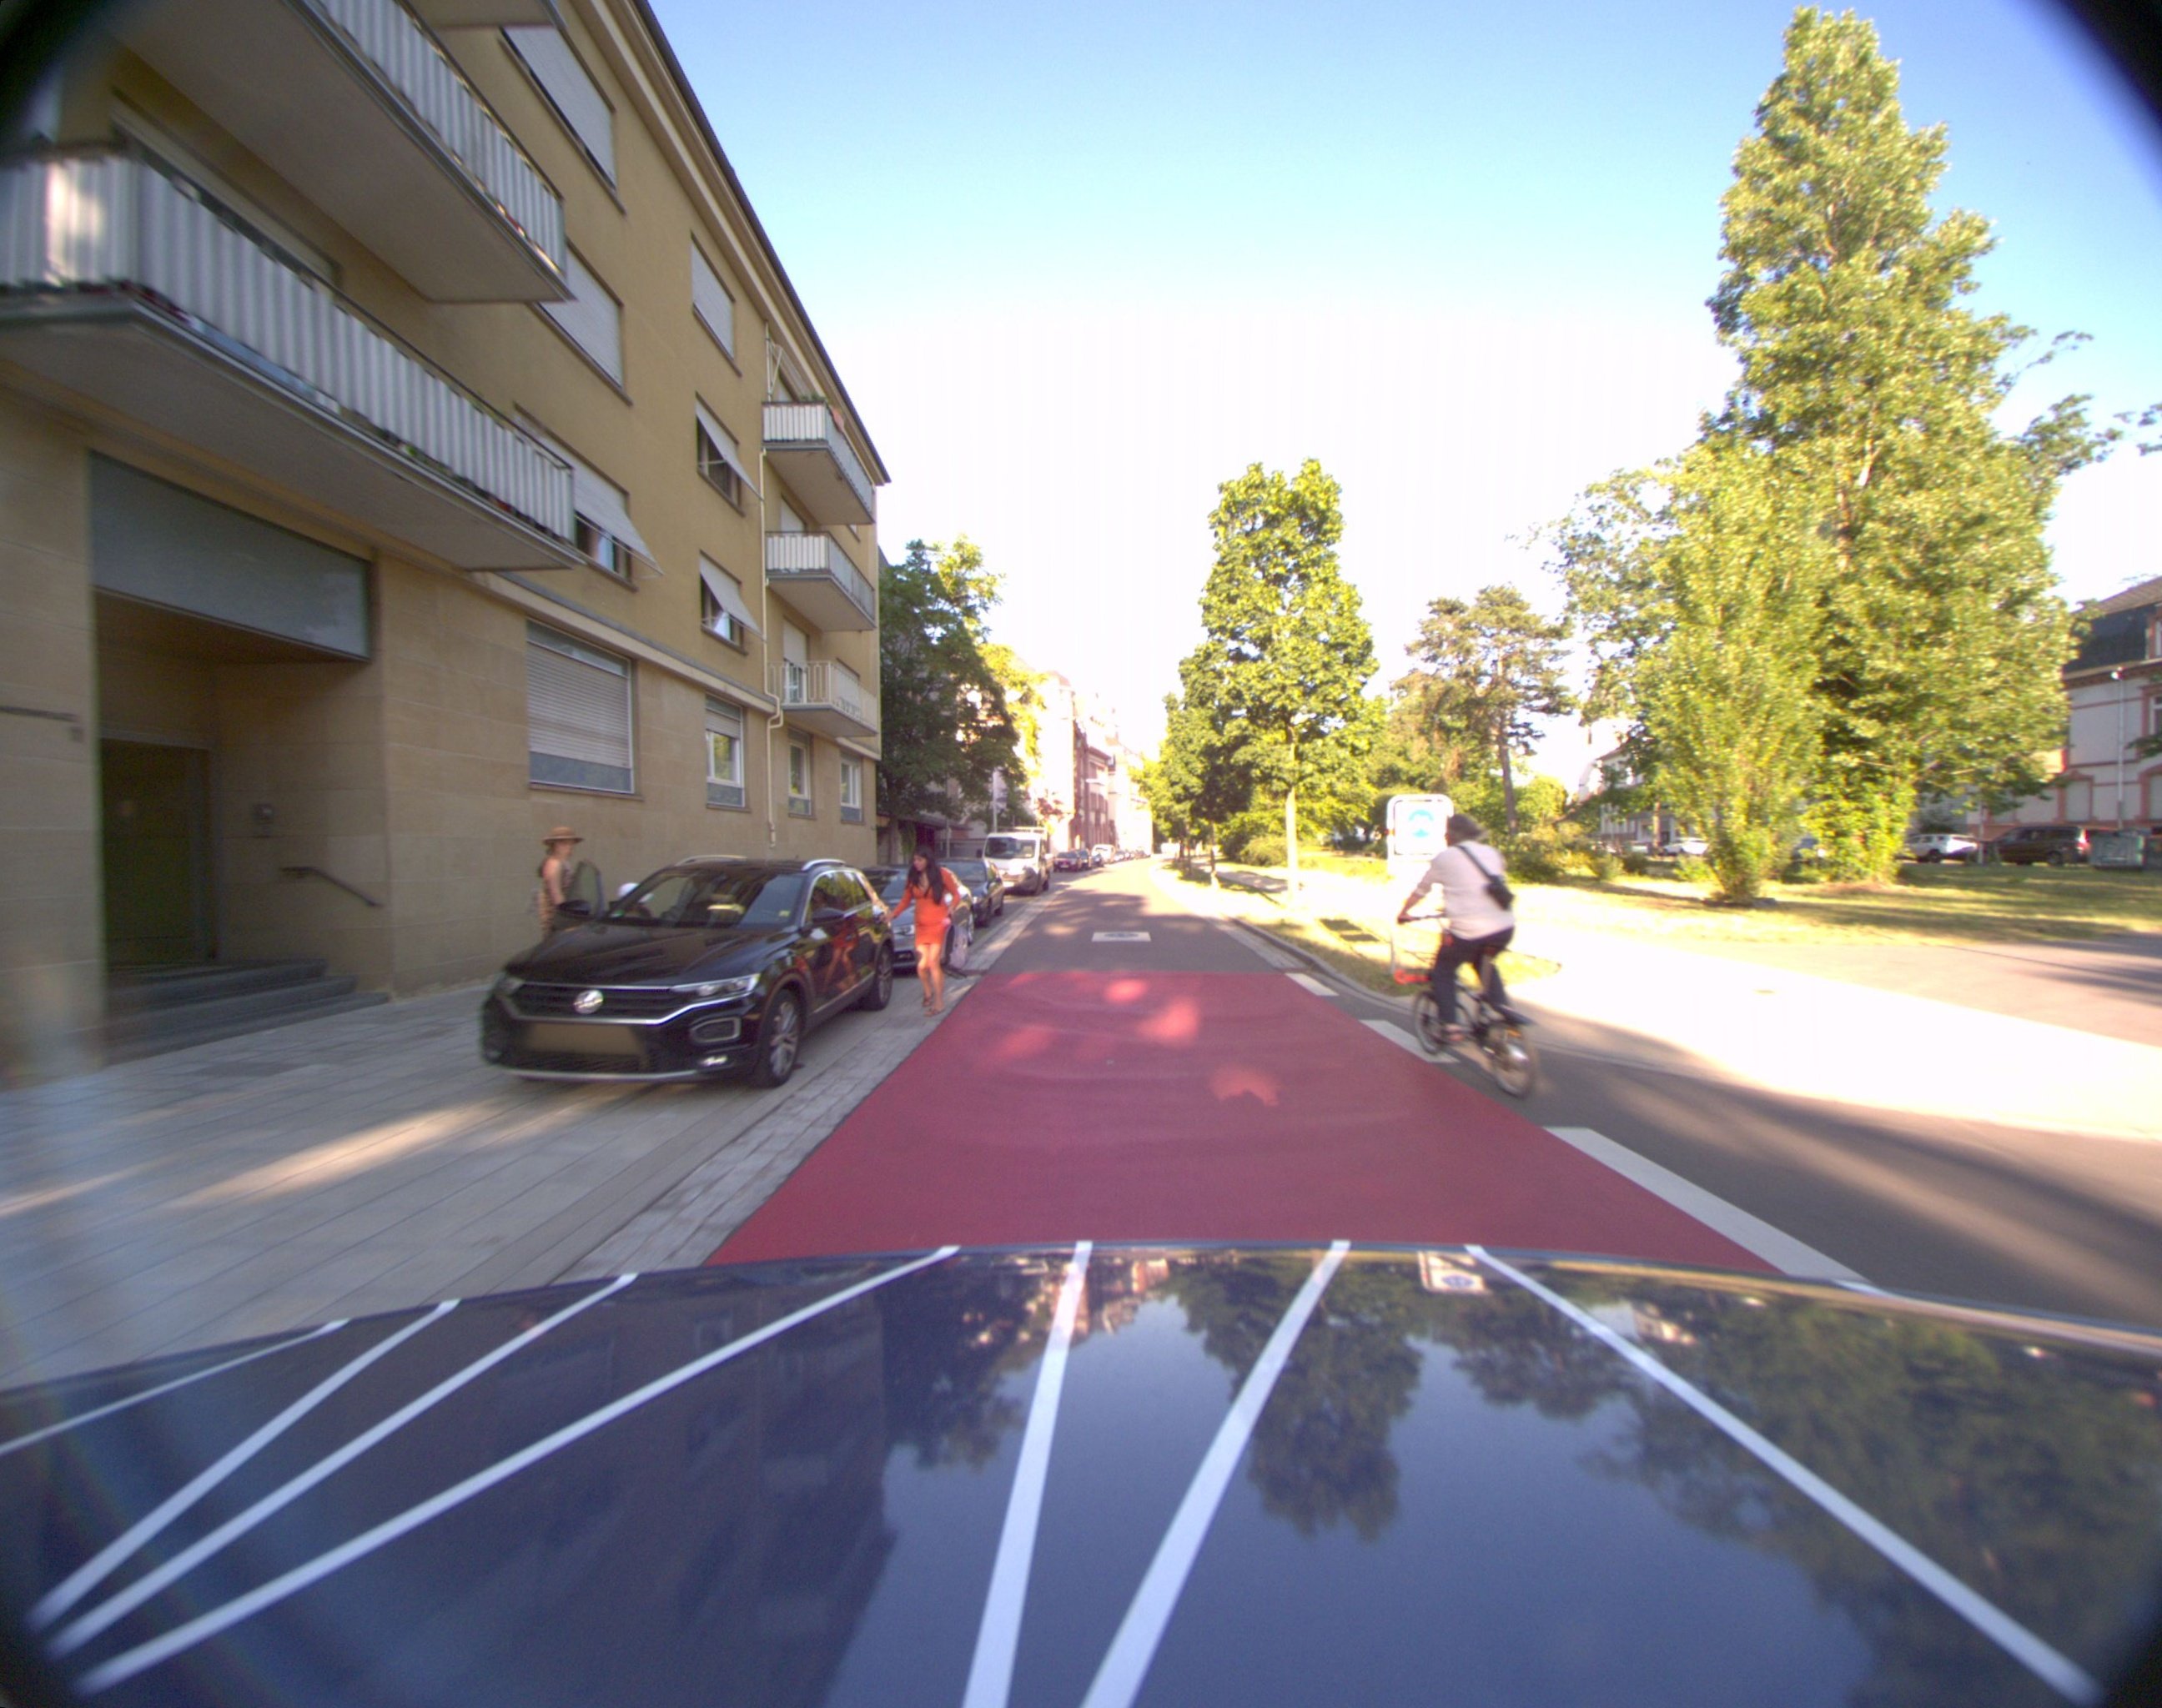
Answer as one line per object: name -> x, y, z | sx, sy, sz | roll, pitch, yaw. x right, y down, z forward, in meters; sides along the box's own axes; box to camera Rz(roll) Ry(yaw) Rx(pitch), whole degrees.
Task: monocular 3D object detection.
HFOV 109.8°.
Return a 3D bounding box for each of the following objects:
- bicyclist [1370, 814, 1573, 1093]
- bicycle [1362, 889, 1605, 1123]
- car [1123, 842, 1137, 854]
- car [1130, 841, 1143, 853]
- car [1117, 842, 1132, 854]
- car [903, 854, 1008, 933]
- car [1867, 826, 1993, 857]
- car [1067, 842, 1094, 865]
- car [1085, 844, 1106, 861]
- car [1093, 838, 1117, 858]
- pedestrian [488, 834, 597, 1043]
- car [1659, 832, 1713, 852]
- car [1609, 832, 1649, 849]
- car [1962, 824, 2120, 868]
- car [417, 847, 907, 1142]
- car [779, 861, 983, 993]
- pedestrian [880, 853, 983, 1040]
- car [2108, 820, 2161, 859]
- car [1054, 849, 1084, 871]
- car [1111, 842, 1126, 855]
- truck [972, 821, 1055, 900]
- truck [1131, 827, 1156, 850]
bicyclist -> 2.550, 0.604, 5.089 | 0.939, 1.693, 0.906 | -1, 2, 6
bicycle -> 2.573, 0.877, 5.178 | 0.739, 1.129, 2.105 | -1, 1, 7
car -> 6.392, -0.800, 99.757 | 1.582, 1.499, 3.848 | 0, 2, 7
car -> 7.853, -0.997, 106.679 | 1.582, 1.499, 3.848 | 0, 2, 7
car -> 5.492, -0.770, 94.743 | 1.582, 1.499, 3.848 | 0, 2, 7
car -> -2.674, 0.782, 17.049 | 1.707, 1.412, 4.034 | 1, 2, -1
car -> 46.735, -0.731, 41.999 | 1.889, 1.565, 4.598 | -1, 3, 4
car -> -0.037, -0.089, 57.121 | 1.610, 1.609, 3.951 | 0, 2, 6
car -> 1.284, -0.182, 67.507 | 1.509, 1.438, 3.730 | 0, 2, 6
car -> 2.549, -0.661, 79.849 | 2.118, 1.942, 4.762 | 0, 2, 7
pedestrian -> -4.998, 0.736, 7.074 | 0.733, 1.820, 0.555 | -3, 2, -36
car -> 51.715, -1.043, 65.056 | 1.887, 1.565, 4.602 | 0, 3, 15
car -> 54.181, -1.364, 75.209 | 1.887, 1.565, 4.603 | 0, 3, 17
car -> 46.116, -0.447, 36.710 | 1.888, 1.883, 4.978 | 0, 3, 11
car -> -2.843, 0.778, 6.421 | 1.707, 1.616, 4.348 | 1, 0, 0
car -> -2.711, 0.904, 11.372 | 1.707, 1.412, 4.348 | 1, 2, 3
pedestrian -> -1.489, 0.885, 7.724 | 0.778, 1.759, 0.955 | -2, 1, 1
car -> 45.218, -0.564, 30.555 | 1.888, 1.565, 4.599 | 0, 3, 7
car -> -0.808, 0.370, 51.661 | 1.610, 1.350, 3.548 | 0, 2, 6
car -> 4.418, -0.642, 88.927 | 1.582, 1.499, 3.848 | 0, 2, 7
truck -> -2.321, 0.117, 28.228 | 2.133, 2.550, 6.876 | -1, 2, 2
truck -> 9.619, -2.362, 116.196 | 3.018, 3.423, 7.628 | 0, 2, 12
